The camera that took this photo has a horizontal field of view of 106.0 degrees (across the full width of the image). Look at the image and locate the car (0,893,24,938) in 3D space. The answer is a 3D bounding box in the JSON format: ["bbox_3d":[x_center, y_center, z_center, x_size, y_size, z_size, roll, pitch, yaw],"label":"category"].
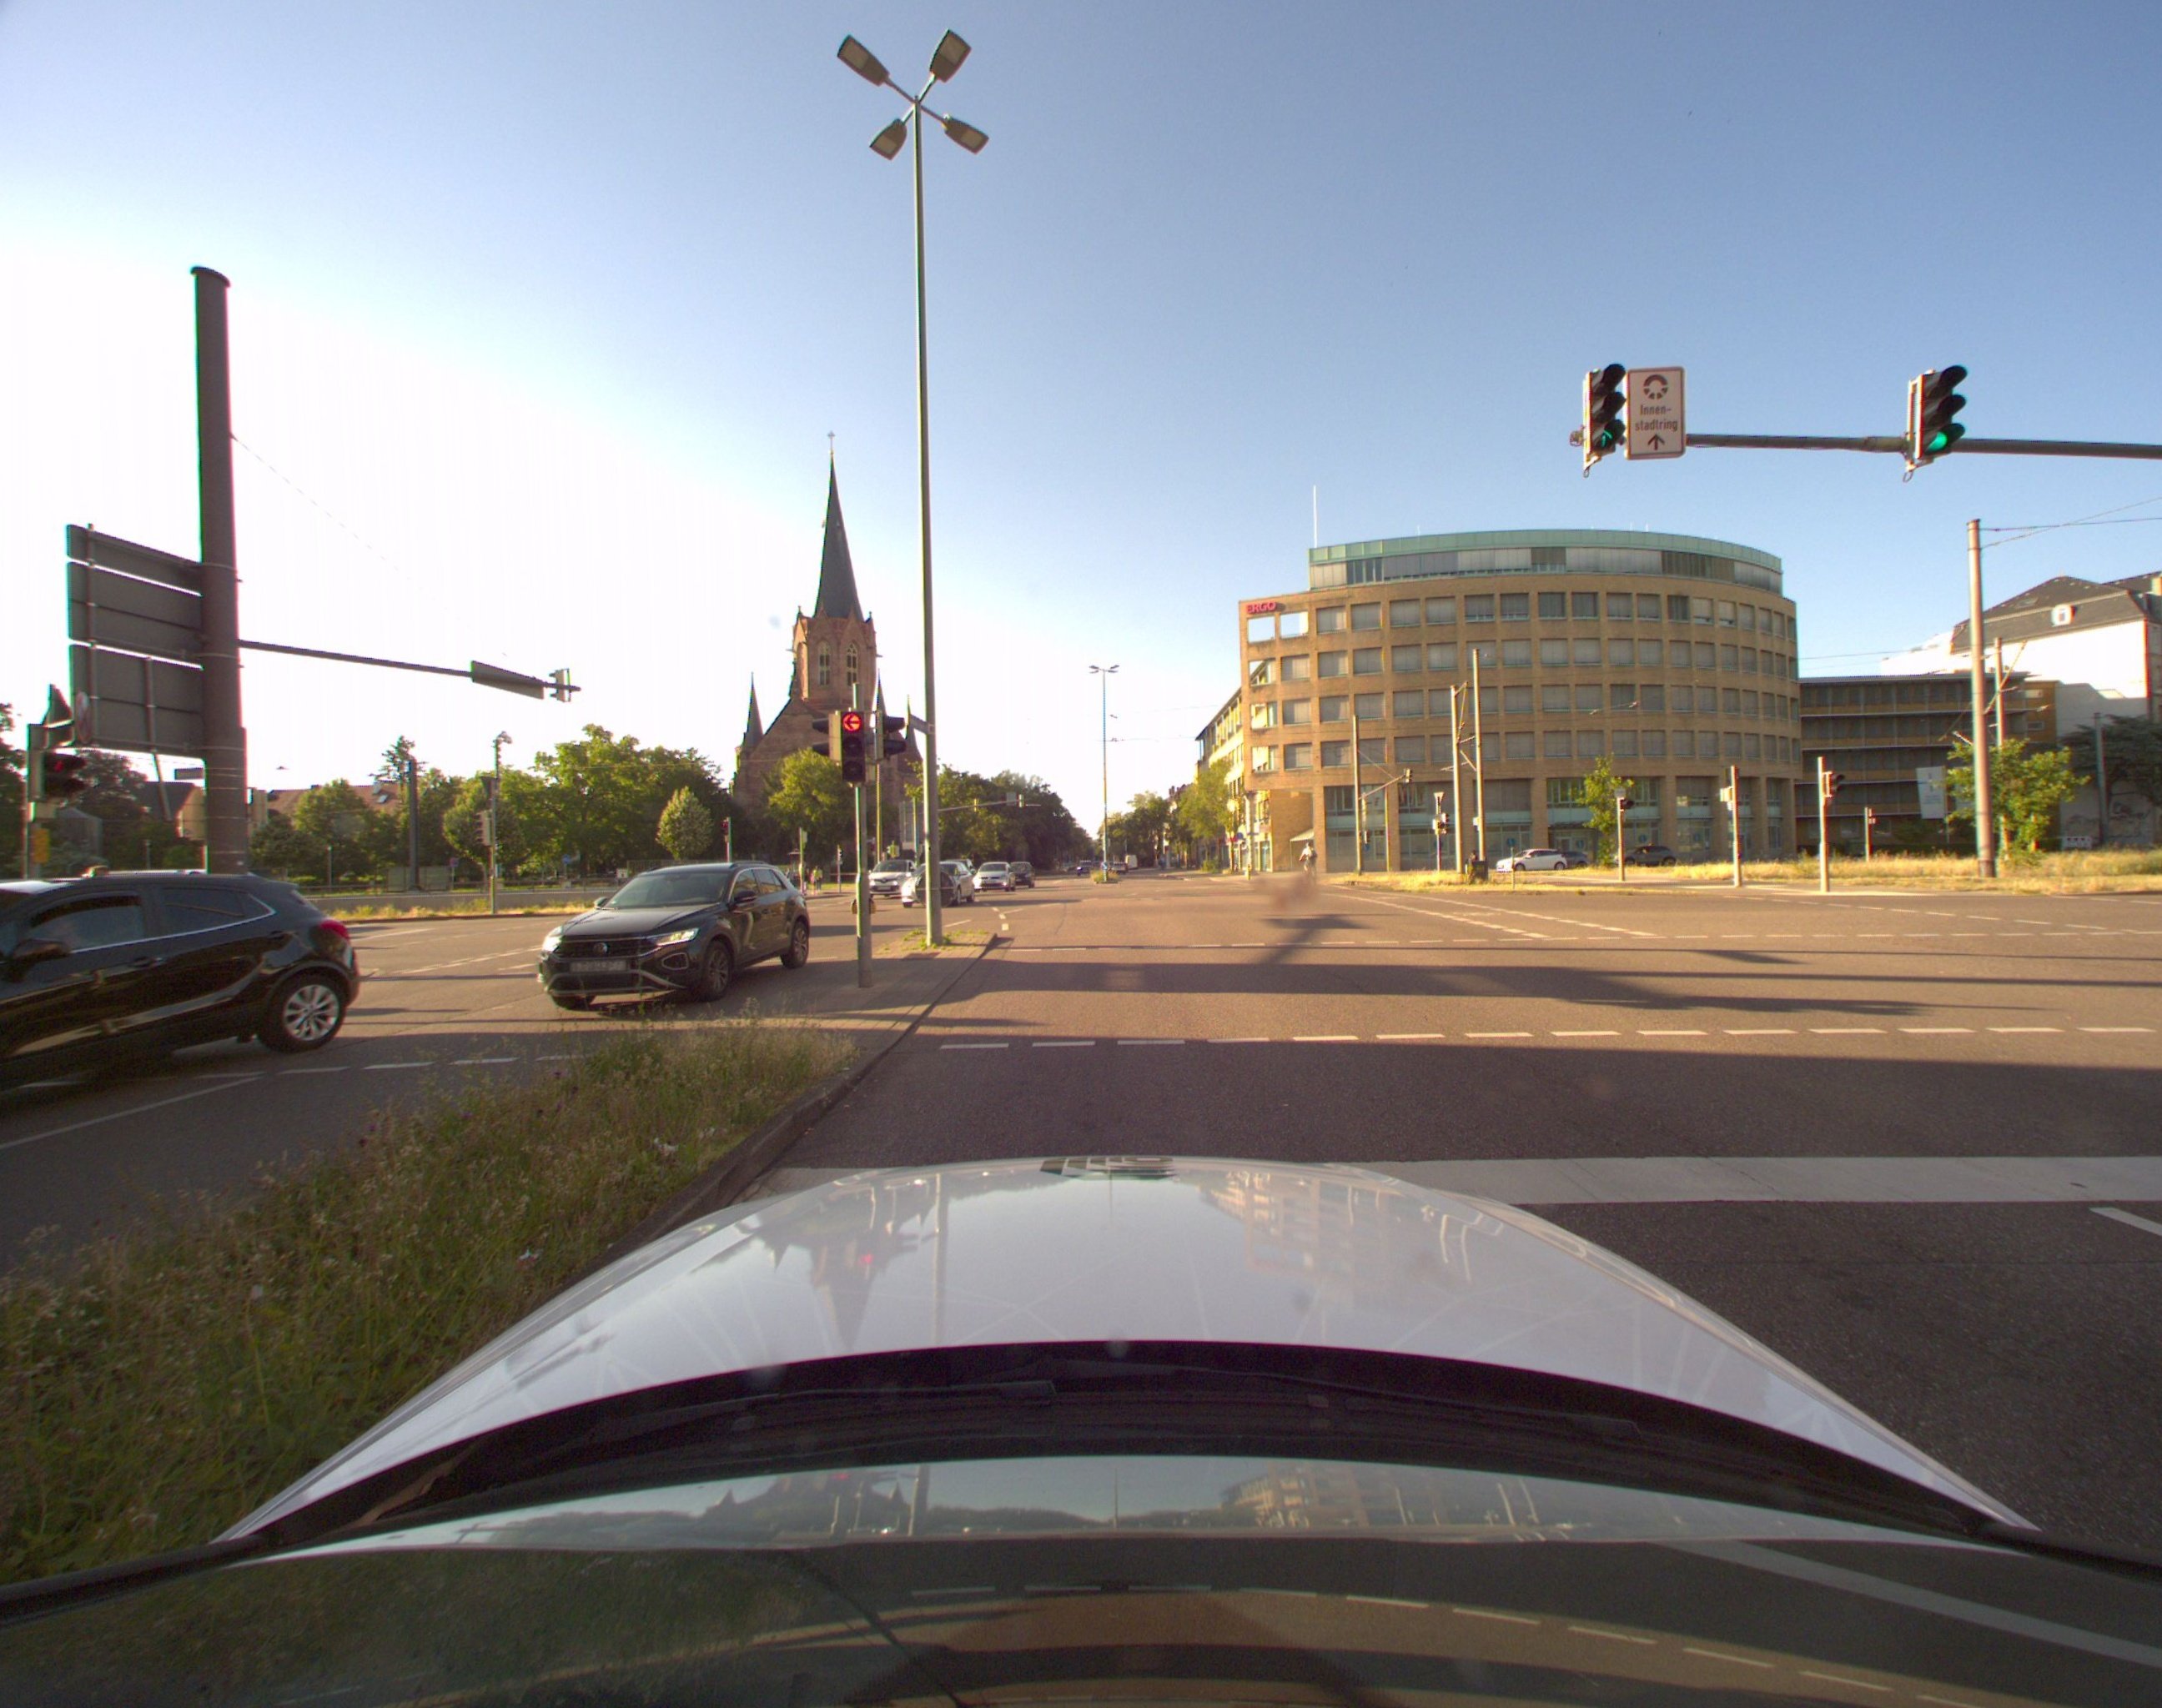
[{"bbox_3d":[-35.096,1.958,24.605,3.889,1.374,1.800,-2,-1,-1],"label":"car"}]

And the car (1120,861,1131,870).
[{"bbox_3d":[6.553,1.700,119.809,1.588,1.267,3.268,-2,0,2],"label":"car"}]

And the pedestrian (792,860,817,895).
[{"bbox_3d":[-14.109,1.184,41.563,0.962,1.739,0.812,-1,-1,-1],"label":"pedestrian"}]

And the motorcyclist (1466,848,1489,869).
[{"bbox_3d":[27.366,0.309,56.253,1.061,1.435,1.032,-2,-1,0],"label":"motorcyclist"}]

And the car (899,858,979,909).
[{"bbox_3d":[-4.564,0.892,26.723,1.702,1.425,4.104,-3,0,1],"label":"car"}]

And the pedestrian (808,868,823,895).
[{"bbox_3d":[-17.061,1.784,52.247,0.845,1.696,1.009,0,-1,-22],"label":"pedestrian"}]

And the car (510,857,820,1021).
[{"bbox_3d":[-4.863,0.865,10.278,1.669,1.544,4.103,-3,0,1],"label":"car"}]

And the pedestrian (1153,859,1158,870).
[{"bbox_3d":[11.952,1.667,130.662,0.844,1.803,0.776,-2,0,1],"label":"pedestrian"}]

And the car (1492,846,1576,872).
[{"bbox_3d":[28.416,0.301,51.201,4.150,1.492,1.994,-2,-1,-1],"label":"car"}]

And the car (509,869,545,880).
[{"bbox_3d":[-91.821,3.424,134.934,4.450,1.571,1.993,-2,-1,-10],"label":"car"}]

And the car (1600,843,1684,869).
[{"bbox_3d":[35.201,0.111,51.167,4.038,1.492,1.820,-2,-1,0],"label":"car"}]

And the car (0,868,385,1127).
[{"bbox_3d":[-7.870,0.998,6.056,1.713,1.628,4.103,-3,0,1],"label":"car"}]

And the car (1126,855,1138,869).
[{"bbox_3d":[9.057,1.334,144.470,1.986,2.440,4.002,0,-1,2],"label":"car"}]

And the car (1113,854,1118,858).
[{"bbox_3d":[10.799,0.727,255.491,1.588,1.267,3.268,-2,0,2],"label":"car"}]

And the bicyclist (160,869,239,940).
[{"bbox_3d":[-21.069,1.177,19.487,0.733,1.598,0.963,-3,0,1],"label":"bicyclist"}]

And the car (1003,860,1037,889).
[{"bbox_3d":[-3.583,1.188,48.128,1.572,1.544,3.478,-3,0,1],"label":"car"}]

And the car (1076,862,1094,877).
[{"bbox_3d":[0.546,1.837,96.974,1.986,1.724,5.031,-2,-1,1],"label":"car"}]

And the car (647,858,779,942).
[{"bbox_3d":[-7.926,0.926,17.809,1.530,1.593,2.808,-3,0,0],"label":"car"}]

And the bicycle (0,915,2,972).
[{"bbox_3d":[-20.367,1.662,13.931,0.732,1.051,2.300,-2,-1,1],"label":"bicycle"}]

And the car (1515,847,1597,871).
[{"bbox_3d":[32.727,0.355,56.227,4.464,1.537,1.987,-2,-1,2],"label":"car"}]

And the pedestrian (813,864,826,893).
[{"bbox_3d":[-15.910,1.485,49.488,0.709,1.696,0.891,0,-1,-15],"label":"pedestrian"}]

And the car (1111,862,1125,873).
[{"bbox_3d":[4.625,1.660,102.084,1.588,1.267,3.268,-2,0,2],"label":"car"}]

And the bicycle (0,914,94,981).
[{"bbox_3d":[-18.749,1.639,13.988,0.732,1.051,2.300,-2,0,1],"label":"bicycle"}]

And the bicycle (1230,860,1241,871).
[{"bbox_3d":[15.174,1.142,80.089,0.644,0.994,2.081,-2,-1,1],"label":"bicycle"}]

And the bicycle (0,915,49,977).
[{"bbox_3d":[-19.554,1.660,13.965,0.732,1.051,2.300,-2,-1,1],"label":"bicycle"}]

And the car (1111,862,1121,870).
[{"bbox_3d":[5.705,1.956,131.988,1.588,1.267,3.268,-2,0,2],"label":"car"}]

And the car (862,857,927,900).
[{"bbox_3d":[-7.555,0.940,33.296,1.669,1.544,3.639,-3,0,1],"label":"car"}]

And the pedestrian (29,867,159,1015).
[{"bbox_3d":[-12.515,1.064,10.354,0.605,1.787,0.813,1,0,5],"label":"pedestrian"}]

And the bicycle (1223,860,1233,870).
[{"bbox_3d":[15.279,1.180,84.610,0.644,0.994,2.081,-2,-1,1],"label":"bicycle"}]

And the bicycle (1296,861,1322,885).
[{"bbox_3d":[9.228,0.747,32.995,0.590,0.943,1.979,0,0,2],"label":"bicycle"}]

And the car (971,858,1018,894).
[{"bbox_3d":[-4.079,1.023,39.057,1.669,1.544,3.807,-3,0,1],"label":"car"}]

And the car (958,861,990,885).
[{"bbox_3d":[-7.410,1.289,56.695,1.572,1.544,3.478,-3,0,1],"label":"car"}]

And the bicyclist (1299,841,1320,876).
[{"bbox_3d":[9.207,0.172,32.851,0.590,1.369,0.930,0,0,2],"label":"bicyclist"}]

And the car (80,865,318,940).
[{"bbox_3d":[-26.555,1.417,24.658,4.908,2.014,1.999,-2,-1,-1],"label":"car"}]

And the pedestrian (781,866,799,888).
[{"bbox_3d":[-21.955,1.724,61.448,1.004,1.696,0.850,-1,-1,30],"label":"pedestrian"}]

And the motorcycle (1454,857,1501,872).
[{"bbox_3d":[27.363,0.731,56.246,2.708,0.964,1.032,-2,-1,0],"label":"motorcycle"}]

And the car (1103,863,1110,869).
[{"bbox_3d":[5.608,2.717,180.973,1.588,1.267,3.268,-2,0,2],"label":"car"}]
